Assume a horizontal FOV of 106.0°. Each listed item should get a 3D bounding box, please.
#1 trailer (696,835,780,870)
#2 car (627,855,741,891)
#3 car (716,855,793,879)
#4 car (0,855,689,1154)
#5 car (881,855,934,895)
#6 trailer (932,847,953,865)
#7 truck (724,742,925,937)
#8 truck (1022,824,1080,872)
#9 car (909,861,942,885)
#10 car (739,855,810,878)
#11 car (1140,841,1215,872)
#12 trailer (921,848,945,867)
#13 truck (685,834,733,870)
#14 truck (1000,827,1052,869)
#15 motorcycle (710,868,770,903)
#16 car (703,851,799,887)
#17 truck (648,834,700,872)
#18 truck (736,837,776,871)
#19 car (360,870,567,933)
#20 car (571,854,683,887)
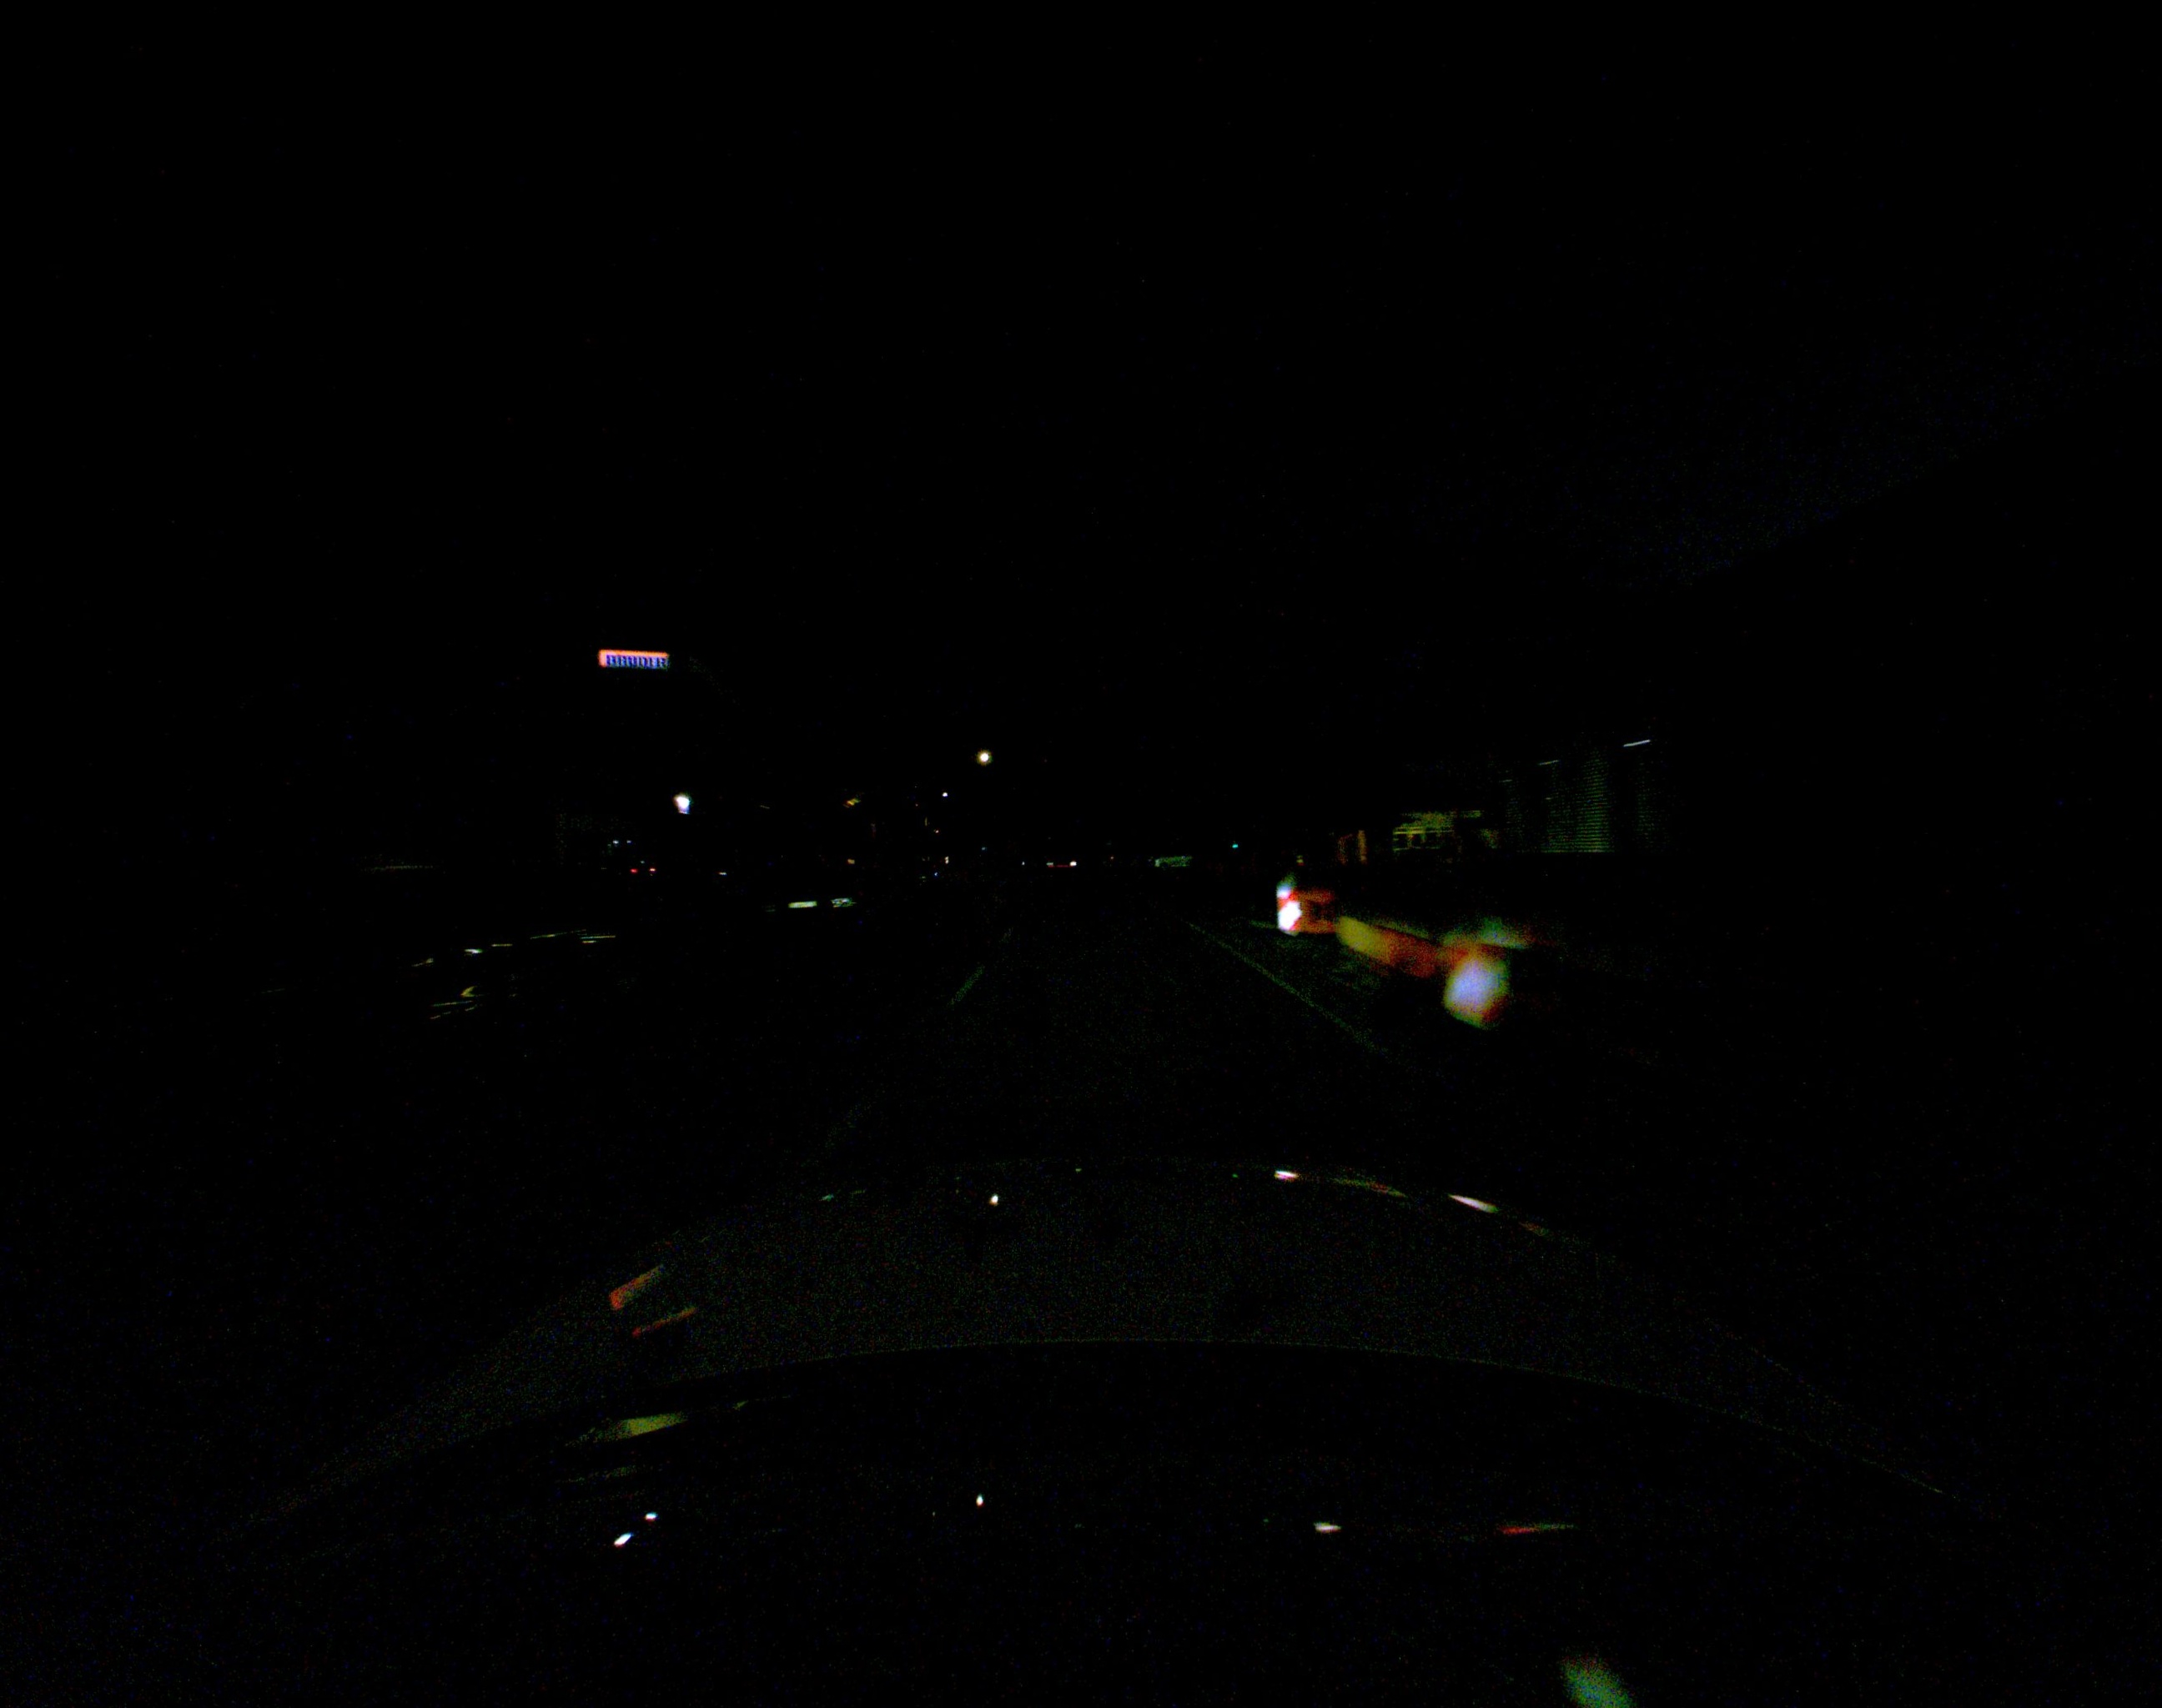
[{"bbox_3d":[-43.724,-0.240,104.716,3.043,4.148,15.027,0,0,6],"label":"trailer"},{"bbox_3d":[-18.372,0.854,37.866,4.408,1.482,1.884,-1,0,-13],"label":"car"},{"bbox_3d":[-20.819,0.786,52.111,4.271,1.394,1.820,-1,0,-13],"label":"car"},{"bbox_3d":[-5.889,0.918,7.520,1.937,1.717,5.198,-2,0,0],"label":"car"},{"bbox_3d":[-7.727,0.883,36.575,1.864,1.593,4.484,-2,0,-7],"label":"car"},{"bbox_3d":[-22.627,0.386,132.709,2.622,2.846,4.677,0,-1,-20],"label":"trailer"},{"bbox_3d":[-6.399,-0.332,22.186,2.766,4.120,9.332,-2,0,-3],"label":"truck"},{"bbox_3d":[-2.737,-0.447,70.546,2.761,3.783,9.086,-2,0,-16],"label":"truck"},{"bbox_3d":[-9.801,1.142,51.036,1.816,1.371,4.341,-2,0,-13],"label":"car"},{"bbox_3d":[-21.646,0.883,57.618,4.409,1.478,1.843,-1,0,-13],"label":"car"},{"bbox_3d":[6.251,0.151,52.880,4.338,1.646,1.881,-4,1,-18],"label":"car"},{"bbox_3d":[-26.726,0.672,146.543,3.493,3.219,4.832,0,-1,-20],"label":"trailer"},{"bbox_3d":[-44.458,-0.272,97.431,3.043,4.148,4.944,0,0,6],"label":"truck"},{"bbox_3d":[-5.577,-0.555,80.243,2.762,3.783,10.166,-2,0,-17],"label":"truck"},{"bbox_3d":[-11.036,1.018,26.361,1.699,1.101,0.526,2,-3,-35],"label":"motorcycle"},{"bbox_3d":[-18.353,0.793,45.494,4.612,1.816,1.954,-1,0,-13],"label":"car"},{"bbox_3d":[-48.376,-0.081,97.012,3.044,4.357,5.573,0,0,4],"label":"truck"},{"bbox_3d":[-39.283,0.011,98.608,3.050,3.932,4.501,0,0,-2],"label":"truck"},{"bbox_3d":[-16.661,1.240,22.186,4.022,1.424,1.859,-2,0,-11],"label":"car"},{"bbox_3d":[-22.208,0.778,39.984,4.409,1.452,1.820,-1,0,-13],"label":"car"}]
